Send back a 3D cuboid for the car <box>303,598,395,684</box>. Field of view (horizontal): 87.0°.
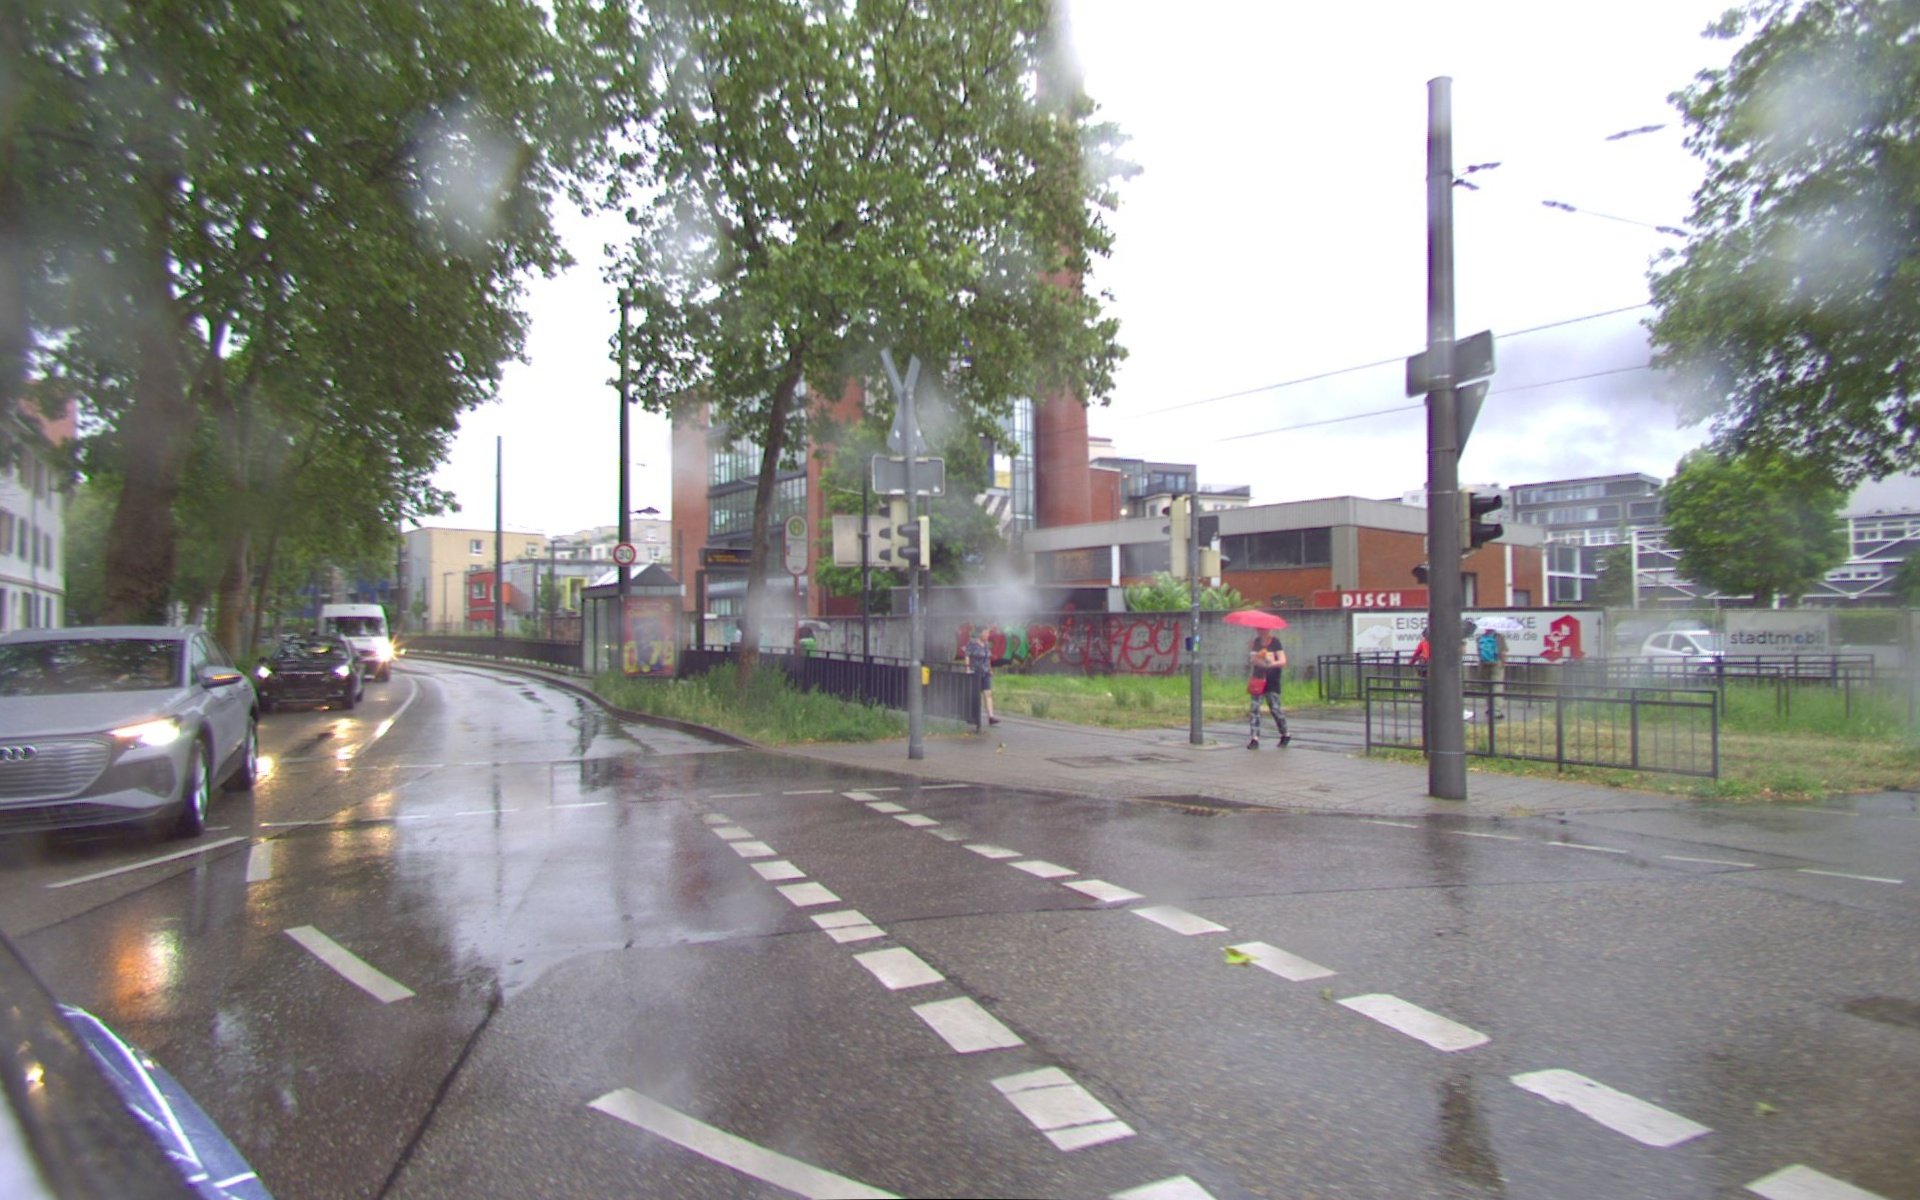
[{"bbox_3d":[-20.307,1.308,33.898,2.245,2.582,6.532,0,-1,-28],"label":"car"}]

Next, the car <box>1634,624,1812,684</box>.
[{"bbox_3d":[18.975,1.310,25.399,1.820,1.331,3.660,-1,-1,4],"label":"car"}]

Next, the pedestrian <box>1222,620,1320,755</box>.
[{"bbox_3d":[4.093,1.123,13.354,0.835,1.701,0.862,1,-3,-37],"label":"pedestrian"}]

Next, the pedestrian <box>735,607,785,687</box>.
[{"bbox_3d":[-4.751,1.121,24.046,0.846,1.846,0.850,1,-3,-38],"label":"pedestrian"}]

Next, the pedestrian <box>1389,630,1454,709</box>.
[{"bbox_3d":[9.190,1.378,20.169,0.835,1.516,0.831,1,-3,-37],"label":"pedestrian"}]

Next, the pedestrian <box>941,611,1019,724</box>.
[{"bbox_3d":[0.306,1.045,15.930,0.846,1.701,0.850,1,-3,-38],"label":"pedestrian"}]

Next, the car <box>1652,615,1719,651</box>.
[{"bbox_3d":[37.192,1.666,51.837,4.518,1.750,2.001,0,-2,-44],"label":"car"}]

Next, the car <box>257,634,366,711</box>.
[{"bbox_3d":[-13.921,1.507,21.718,1.823,1.455,4.010,0,-3,-33],"label":"car"}]

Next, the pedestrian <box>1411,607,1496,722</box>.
[{"bbox_3d":[8.377,1.084,17.201,0.835,1.876,0.958,1,-3,-37],"label":"pedestrian"}]

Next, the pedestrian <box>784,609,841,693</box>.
[{"bbox_3d":[-3.093,1.052,21.159,0.846,1.701,0.850,1,-3,-38],"label":"pedestrian"}]

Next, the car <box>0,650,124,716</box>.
[{"bbox_3d":[-23.397,2.088,26.142,1.896,1.431,3.676,-3,0,-26],"label":"car"}]

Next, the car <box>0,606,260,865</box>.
[{"bbox_3d":[-7.023,0.951,8.287,1.779,1.633,4.149,0,-3,-30],"label":"car"}]

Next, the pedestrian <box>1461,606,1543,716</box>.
[{"bbox_3d":[9.547,1.056,17.841,0.835,1.876,0.958,1,-3,-37],"label":"pedestrian"}]

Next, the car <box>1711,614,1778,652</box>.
[{"bbox_3d":[38.719,1.596,49.901,4.356,1.750,2.002,0,-2,-44],"label":"car"}]
